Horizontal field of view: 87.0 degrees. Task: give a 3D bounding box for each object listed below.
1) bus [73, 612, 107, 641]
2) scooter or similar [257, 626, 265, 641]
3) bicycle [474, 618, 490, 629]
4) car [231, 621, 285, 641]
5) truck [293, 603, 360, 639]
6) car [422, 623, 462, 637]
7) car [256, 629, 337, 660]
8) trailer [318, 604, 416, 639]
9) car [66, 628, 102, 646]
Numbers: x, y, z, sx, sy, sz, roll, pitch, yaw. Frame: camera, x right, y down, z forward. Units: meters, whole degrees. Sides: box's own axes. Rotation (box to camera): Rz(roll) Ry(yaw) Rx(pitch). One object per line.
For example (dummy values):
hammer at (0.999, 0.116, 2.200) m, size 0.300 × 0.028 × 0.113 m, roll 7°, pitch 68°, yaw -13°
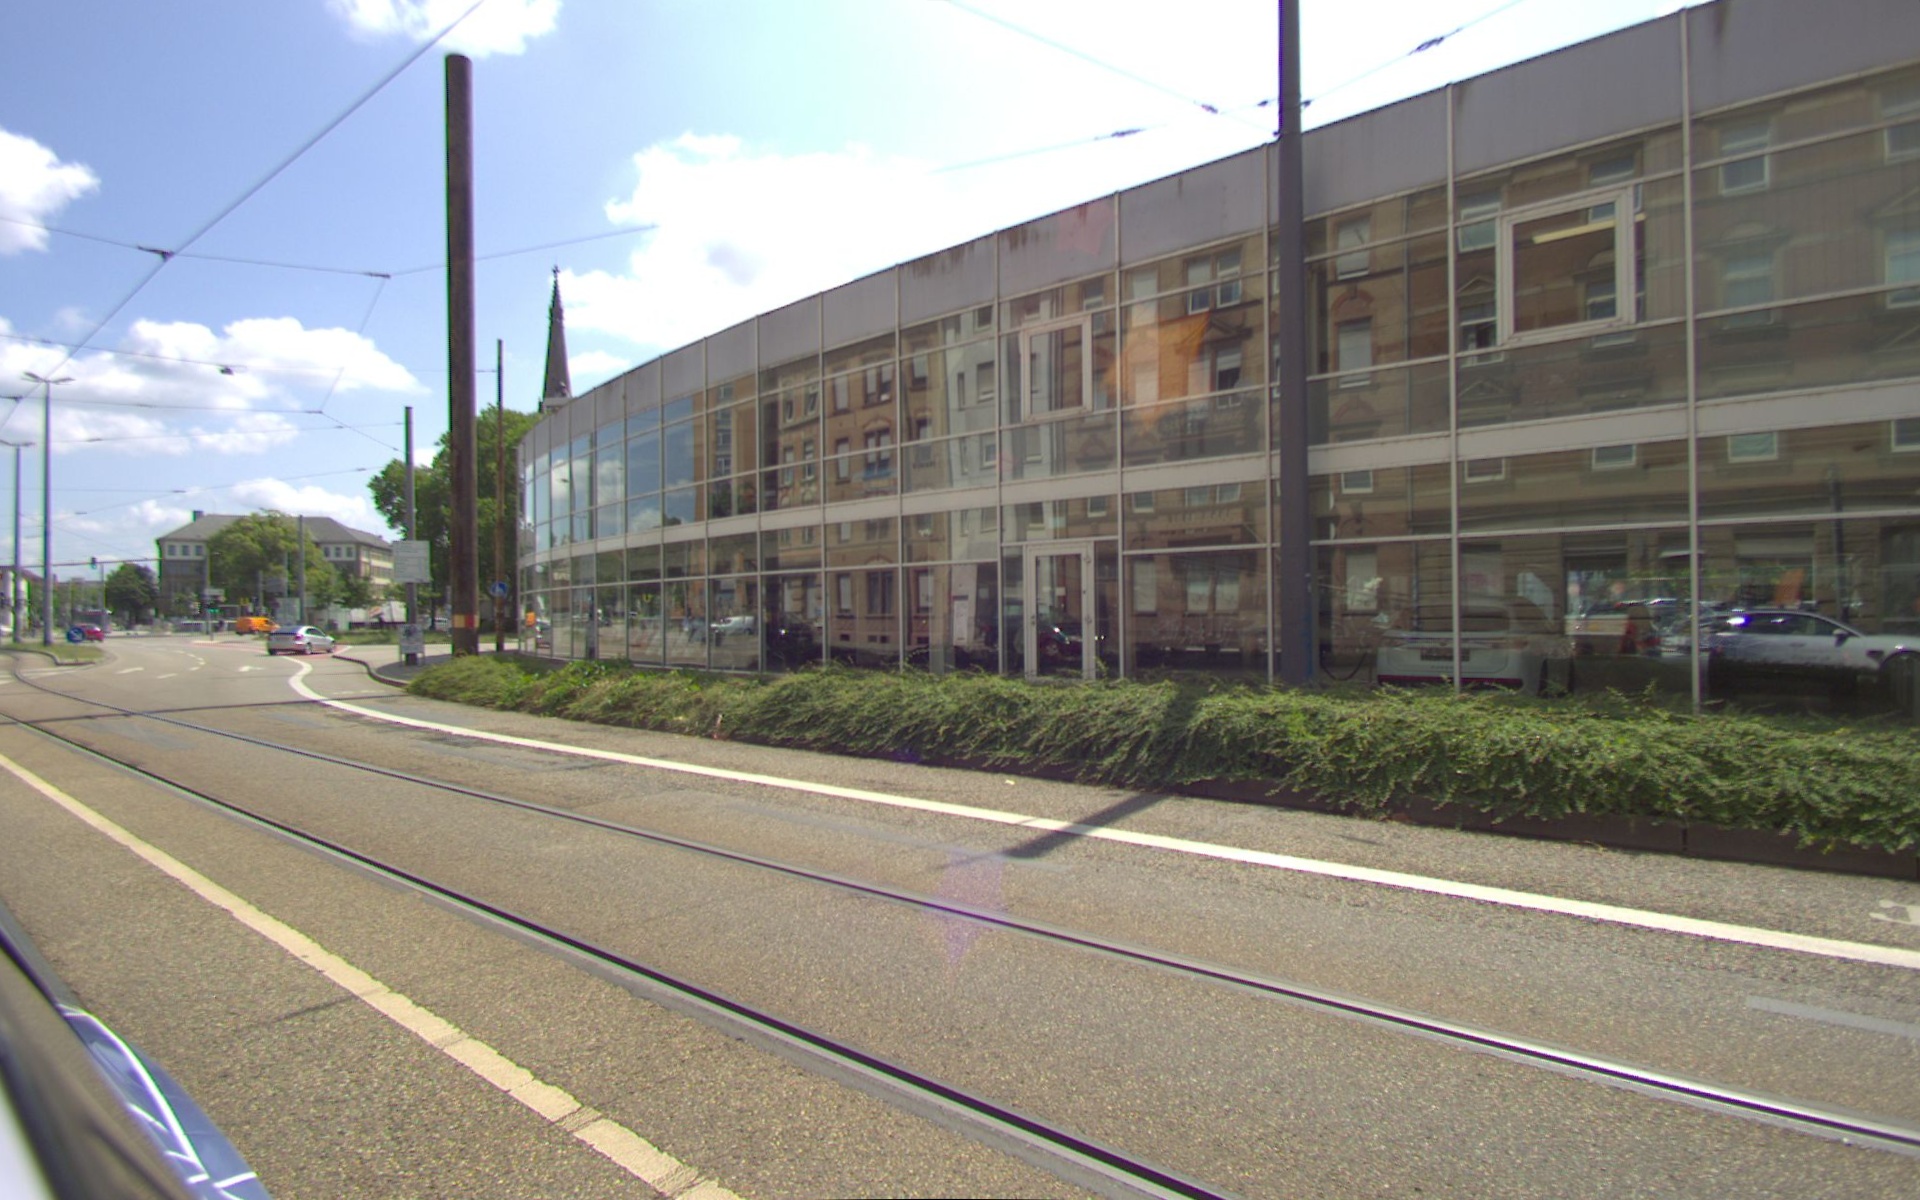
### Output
bus at (-110.579, 3.343, 128.718) m, size 2.905 × 3.474 × 7.962 m, roll 0°, pitch -1°, yaw -38°
scooter or similar at (-59.653, 2.850, 86.331) m, size 0.549 × 1.209 × 0.456 m, roll -2°, pitch -2°, yaw 39°
bicycle at (-51.730, 2.563, 109.463) m, size 1.584 × 1.176 × 0.492 m, roll -1°, pitch -1°, yaw 10°
car at (-69.542, 3.076, 100.315) m, size 1.897 × 1.880 × 4.351 m, roll 0°, pitch -2°, yaw 11°
truck at (-75.305, 2.526, 120.417) m, size 2.931 × 4.150 × 6.857 m, roll -1°, pitch -1°, yaw 10°
car at (-61.868, 3.585, 120.903) m, size 4.102 × 1.655 × 1.634 m, roll 0°, pitch -1°, yaw -32°
car at (-32.617, 2.163, 49.873) m, size 1.791 × 1.431 × 4.196 m, roll 1°, pitch -2°, yaw -10°
trailer at (-74.214, 2.662, 127.183) m, size 2.916 × 4.107 × 13.379 m, roll -1°, pitch -1°, yaw 9°
car at (-69.924, 2.935, 80.765) m, size 3.901 × 1.439 × 1.683 m, roll -2°, pitch -2°, yaw 42°
